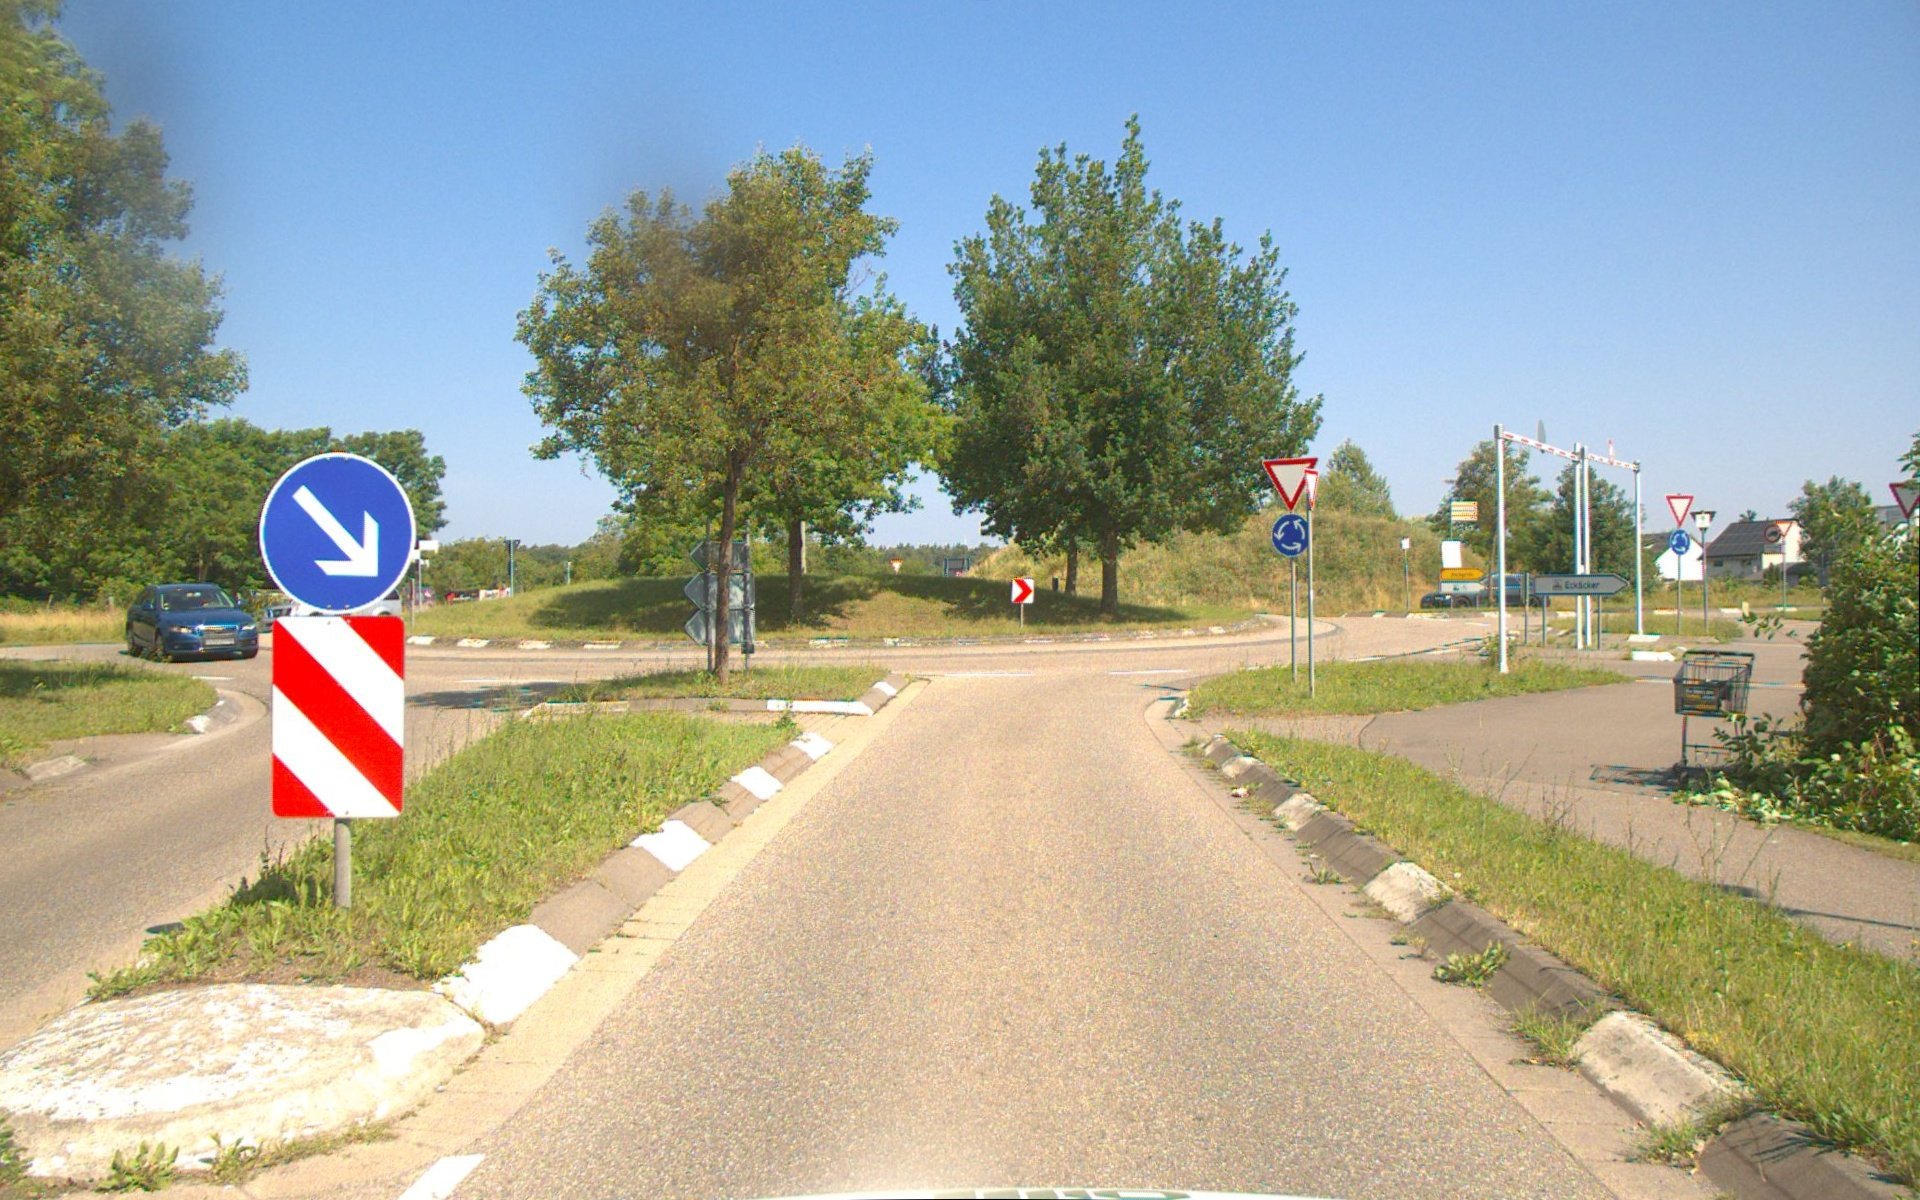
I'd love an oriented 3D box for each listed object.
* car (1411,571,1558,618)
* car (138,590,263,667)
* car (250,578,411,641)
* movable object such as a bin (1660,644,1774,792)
[{"bbox_3d":[18.773,-0.215,59.282,4.678,1.620,1.993,-1,0,-14],"label":"car"},{"bbox_3d":[-15.548,0.535,33.750,1.815,1.411,4.376,-2,1,-31],"label":"car"},{"bbox_3d":[-19.714,0.268,51.991,1.857,1.847,4.589,-1,0,29],"label":"car"},{"bbox_3d":[6.516,0.978,14.240,0.851,1.140,1.454,0,1,25],"label":"movable object such as a bin"}]
